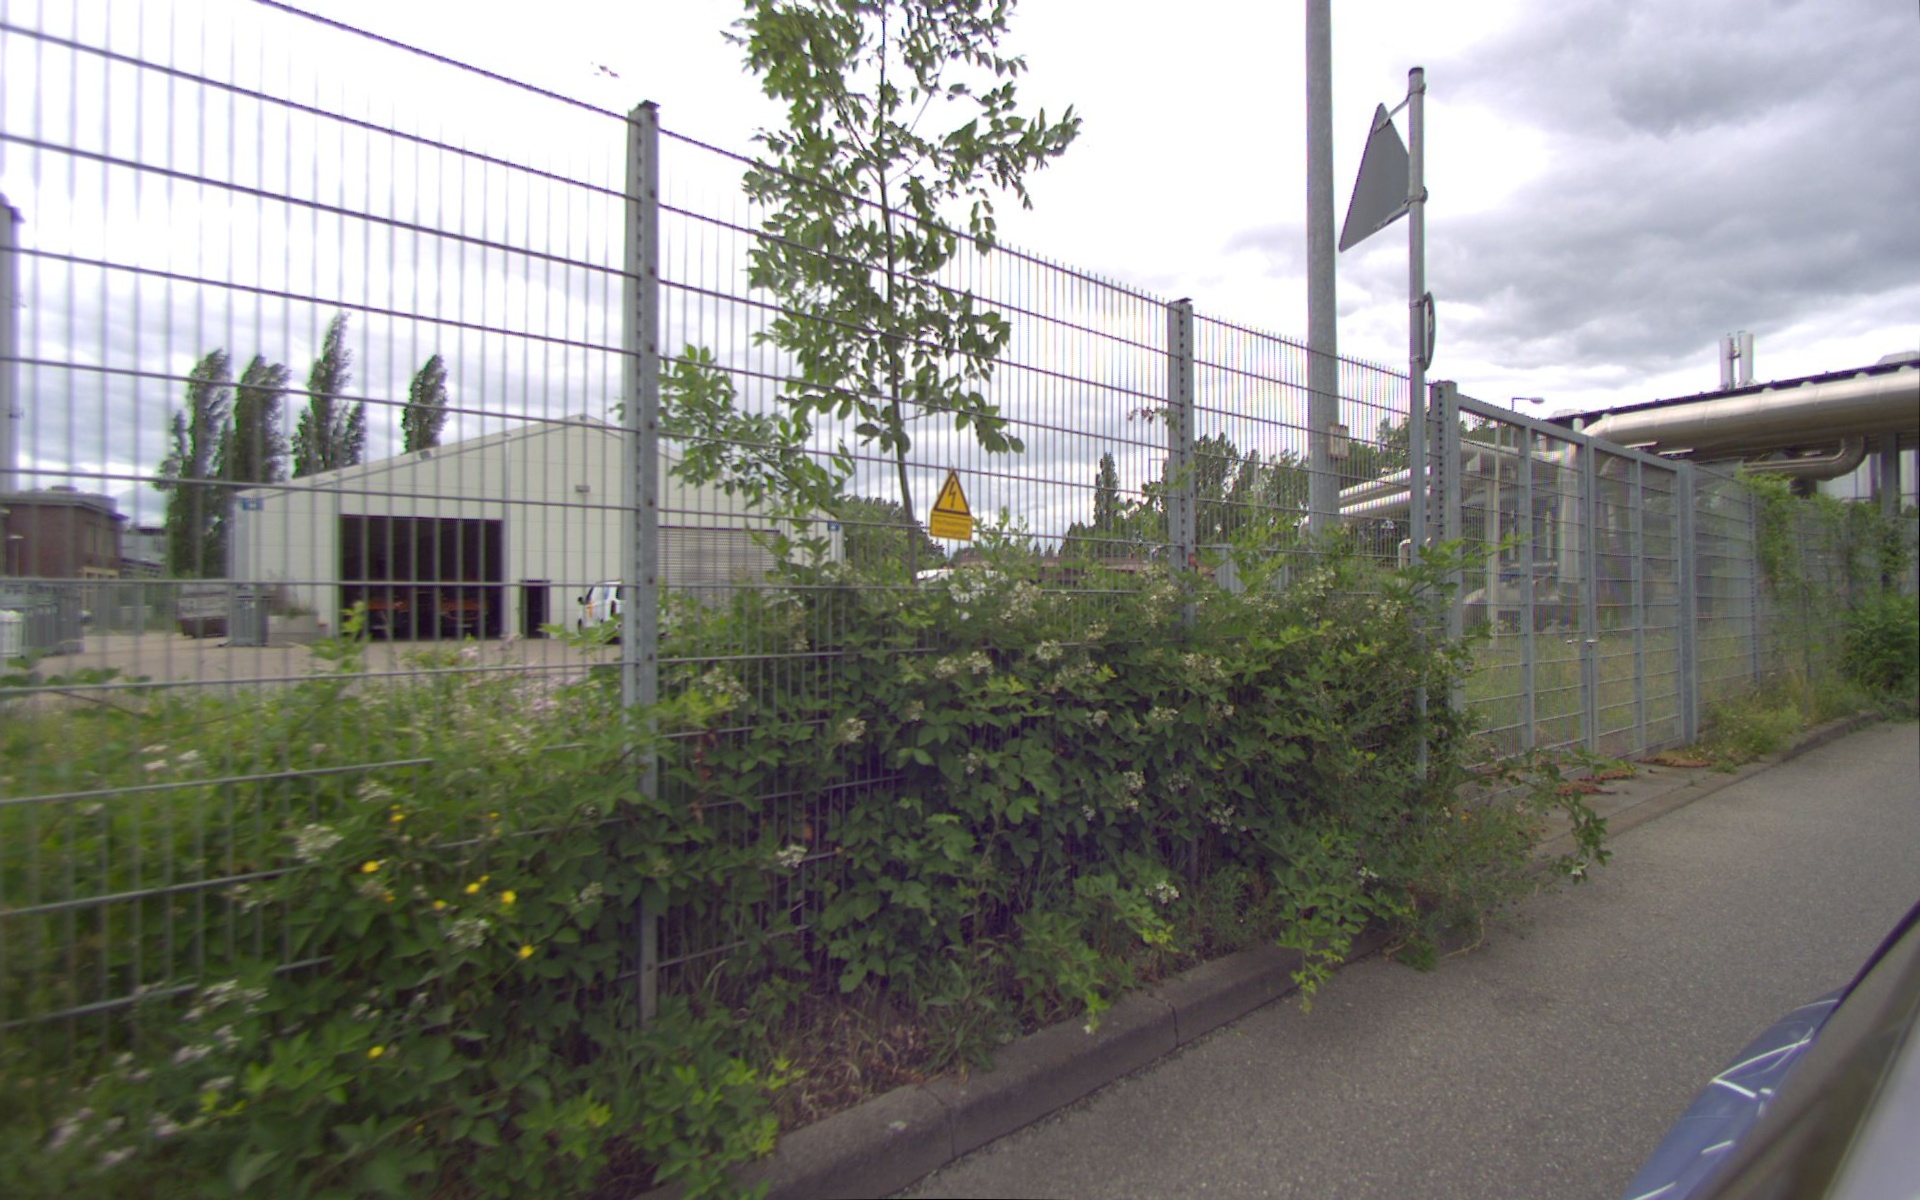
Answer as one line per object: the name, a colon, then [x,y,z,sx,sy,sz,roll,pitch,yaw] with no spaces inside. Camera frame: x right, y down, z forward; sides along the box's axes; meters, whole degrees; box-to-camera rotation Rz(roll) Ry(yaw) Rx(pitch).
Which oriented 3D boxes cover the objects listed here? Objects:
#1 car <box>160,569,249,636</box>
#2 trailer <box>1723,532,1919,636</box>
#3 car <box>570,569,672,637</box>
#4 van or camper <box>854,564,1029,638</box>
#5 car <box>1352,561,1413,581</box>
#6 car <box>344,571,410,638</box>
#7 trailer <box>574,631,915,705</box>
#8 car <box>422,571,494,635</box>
car: [-31.962,0.093,42.990,2.368,2.680,5.355,0,0,-30]
trailer: [41.587,-0.711,43.818,3.111,4.378,13.244,-2,1,-40]
car: [-10.953,0.077,32.537,1.962,2.039,4.339,0,0,-35]
van or camper: [-0.668,0.032,37.562,6.003,2.581,2.578,0,0,-30]
car: [35.315,-2.422,84.659,1.946,1.530,4.289,-3,2,-38]
car: [-22.196,0.162,38.482,1.961,2.405,4.342,0,0,-33]
trailer: [-3.243,0.955,15.412,4.597,0.826,2.307,0,0,-32]
car: [-19.966,0.104,40.154,2.069,2.405,4.435,0,0,-33]
